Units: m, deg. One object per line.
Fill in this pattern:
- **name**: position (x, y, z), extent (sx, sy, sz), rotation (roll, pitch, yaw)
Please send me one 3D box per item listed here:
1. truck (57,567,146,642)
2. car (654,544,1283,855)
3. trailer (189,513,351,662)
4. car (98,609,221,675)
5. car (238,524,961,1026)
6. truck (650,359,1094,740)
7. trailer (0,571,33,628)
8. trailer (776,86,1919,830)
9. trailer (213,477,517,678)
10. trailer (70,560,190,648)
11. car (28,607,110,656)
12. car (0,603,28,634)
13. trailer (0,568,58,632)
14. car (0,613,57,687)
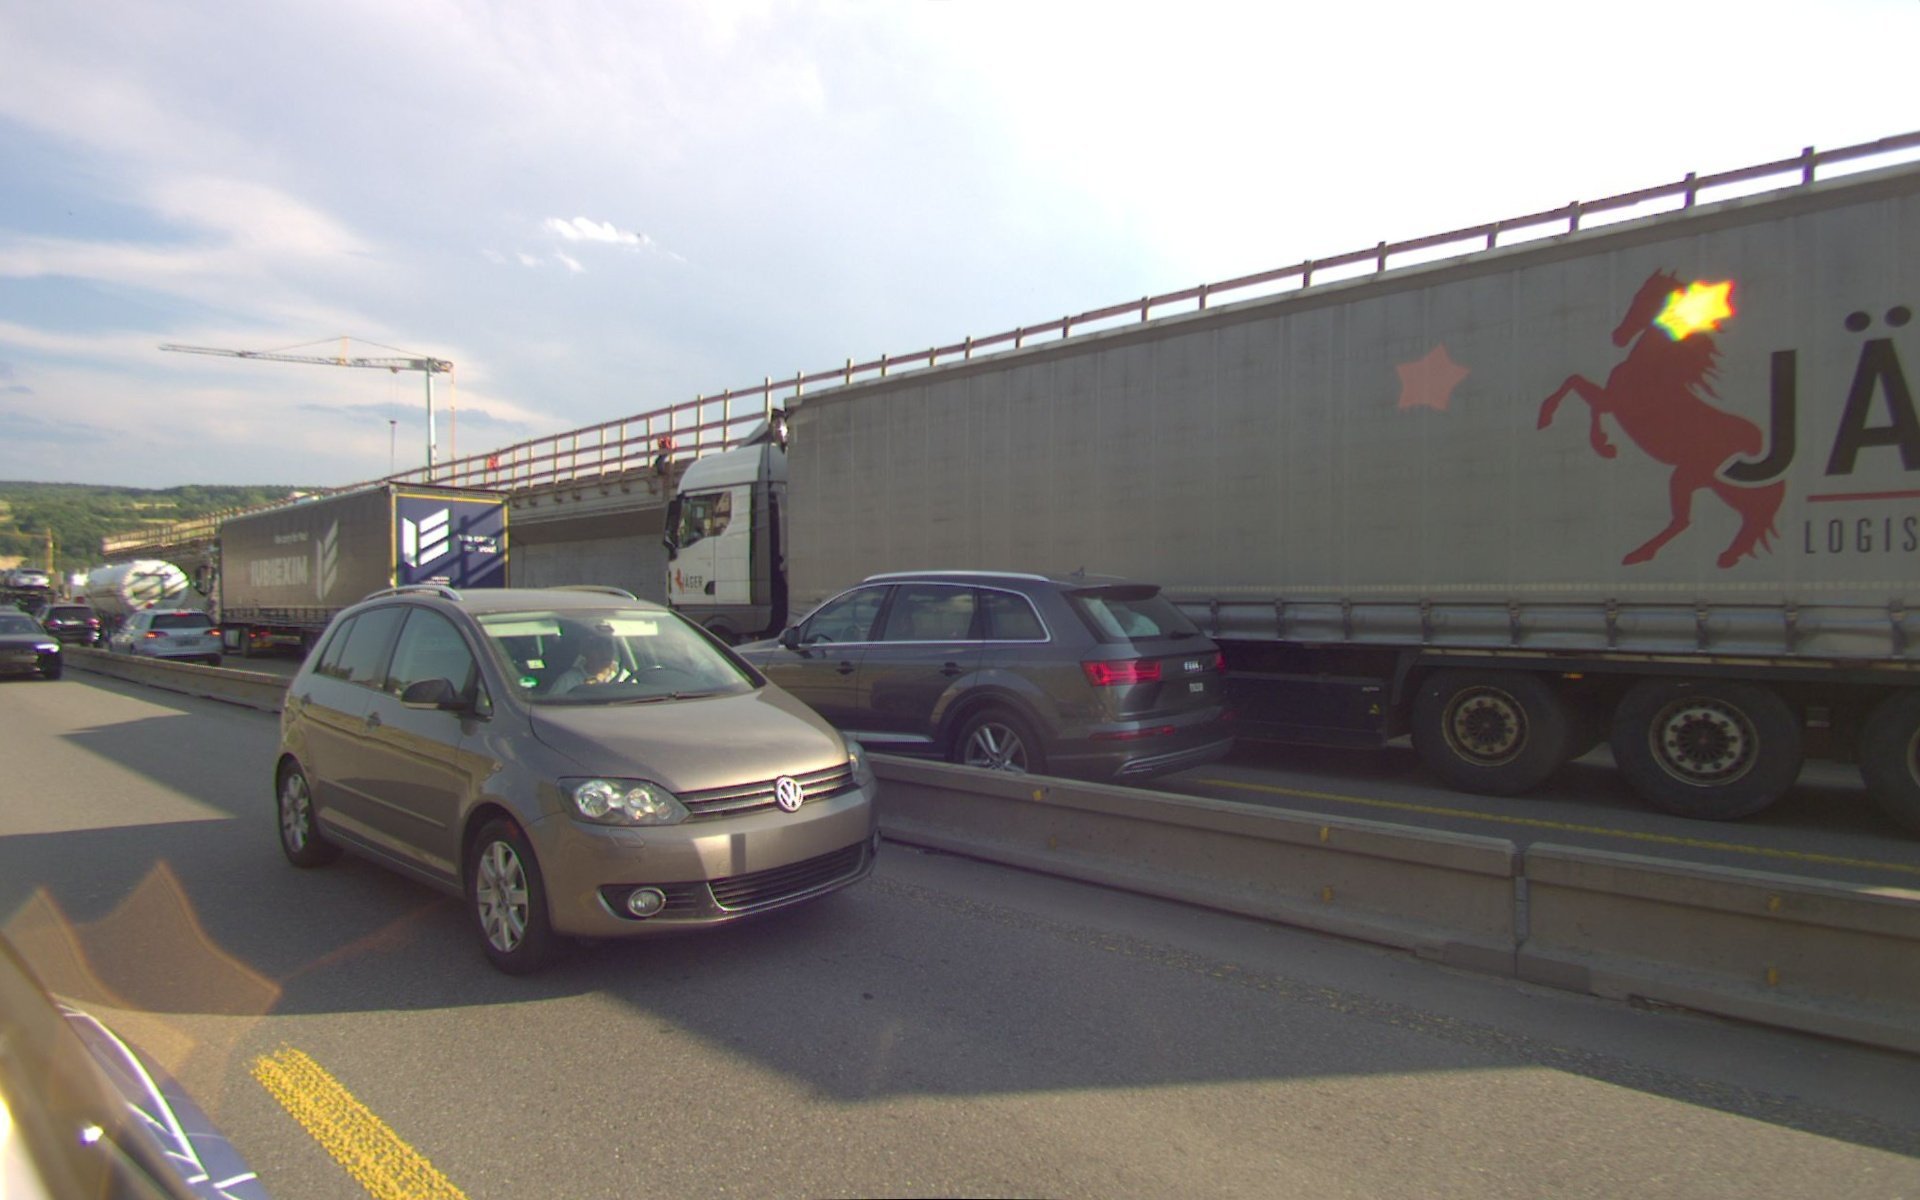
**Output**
- **truck**: position (-42.111, 0.192, 49.577), extent (5.528, 3.435, 2.522), rotation (0, 1, 41)
- **car**: position (-0.230, 0.557, 8.173), extent (5.136, 1.785, 1.804), rotation (0, 1, 40)
- **trailer**: position (-21.333, -0.307, 31.170), extent (5.974, 4.173, 2.736), rotation (-1, -1, 42)
- **car**: position (-20.194, 0.986, 25.464), extent (4.594, 1.470, 1.624), rotation (0, 1, 41)
- **car**: position (-2.144, 0.637, 5.285), extent (4.269, 1.601, 1.663), rotation (-2, -3, 41)
- **truck**: position (-1.351, -0.555, 13.640), extent (5.655, 4.038, 2.831), rotation (0, 1, 41)
- **trailer**: position (-71.413, -0.054, 75.426), extent (7.205, 4.061, 2.742), rotation (0, 1, 42)
- **trailer**: position (3.853, -0.836, 9.148), extent (13.761, 4.272, 2.883), rotation (0, 1, 41)
- **trailer**: position (-16.282, -0.351, 26.761), extent (14.019, 4.173, 2.735), rotation (-1, -1, 42)
- **trailer**: position (-37.442, 0.124, 45.465), extent (10.678, 3.553, 2.530), rotation (0, 1, 42)
- **car**: position (-32.782, 1.112, 37.197), extent (4.686, 1.657, 1.624), rotation (0, 1, 41)
- **car**: position (-49.817, 0.963, 52.460), extent (4.294, 1.569, 1.707), rotation (-1, 0, 41)
- **trailer**: position (-65.838, -0.028, 70.463), extent (15.758, 4.061, 2.742), rotation (0, 1, 42)
- **car**: position (-20.834, 1.023, 21.575), extent (4.347, 1.430, 1.849), rotation (0, 0, 41)
